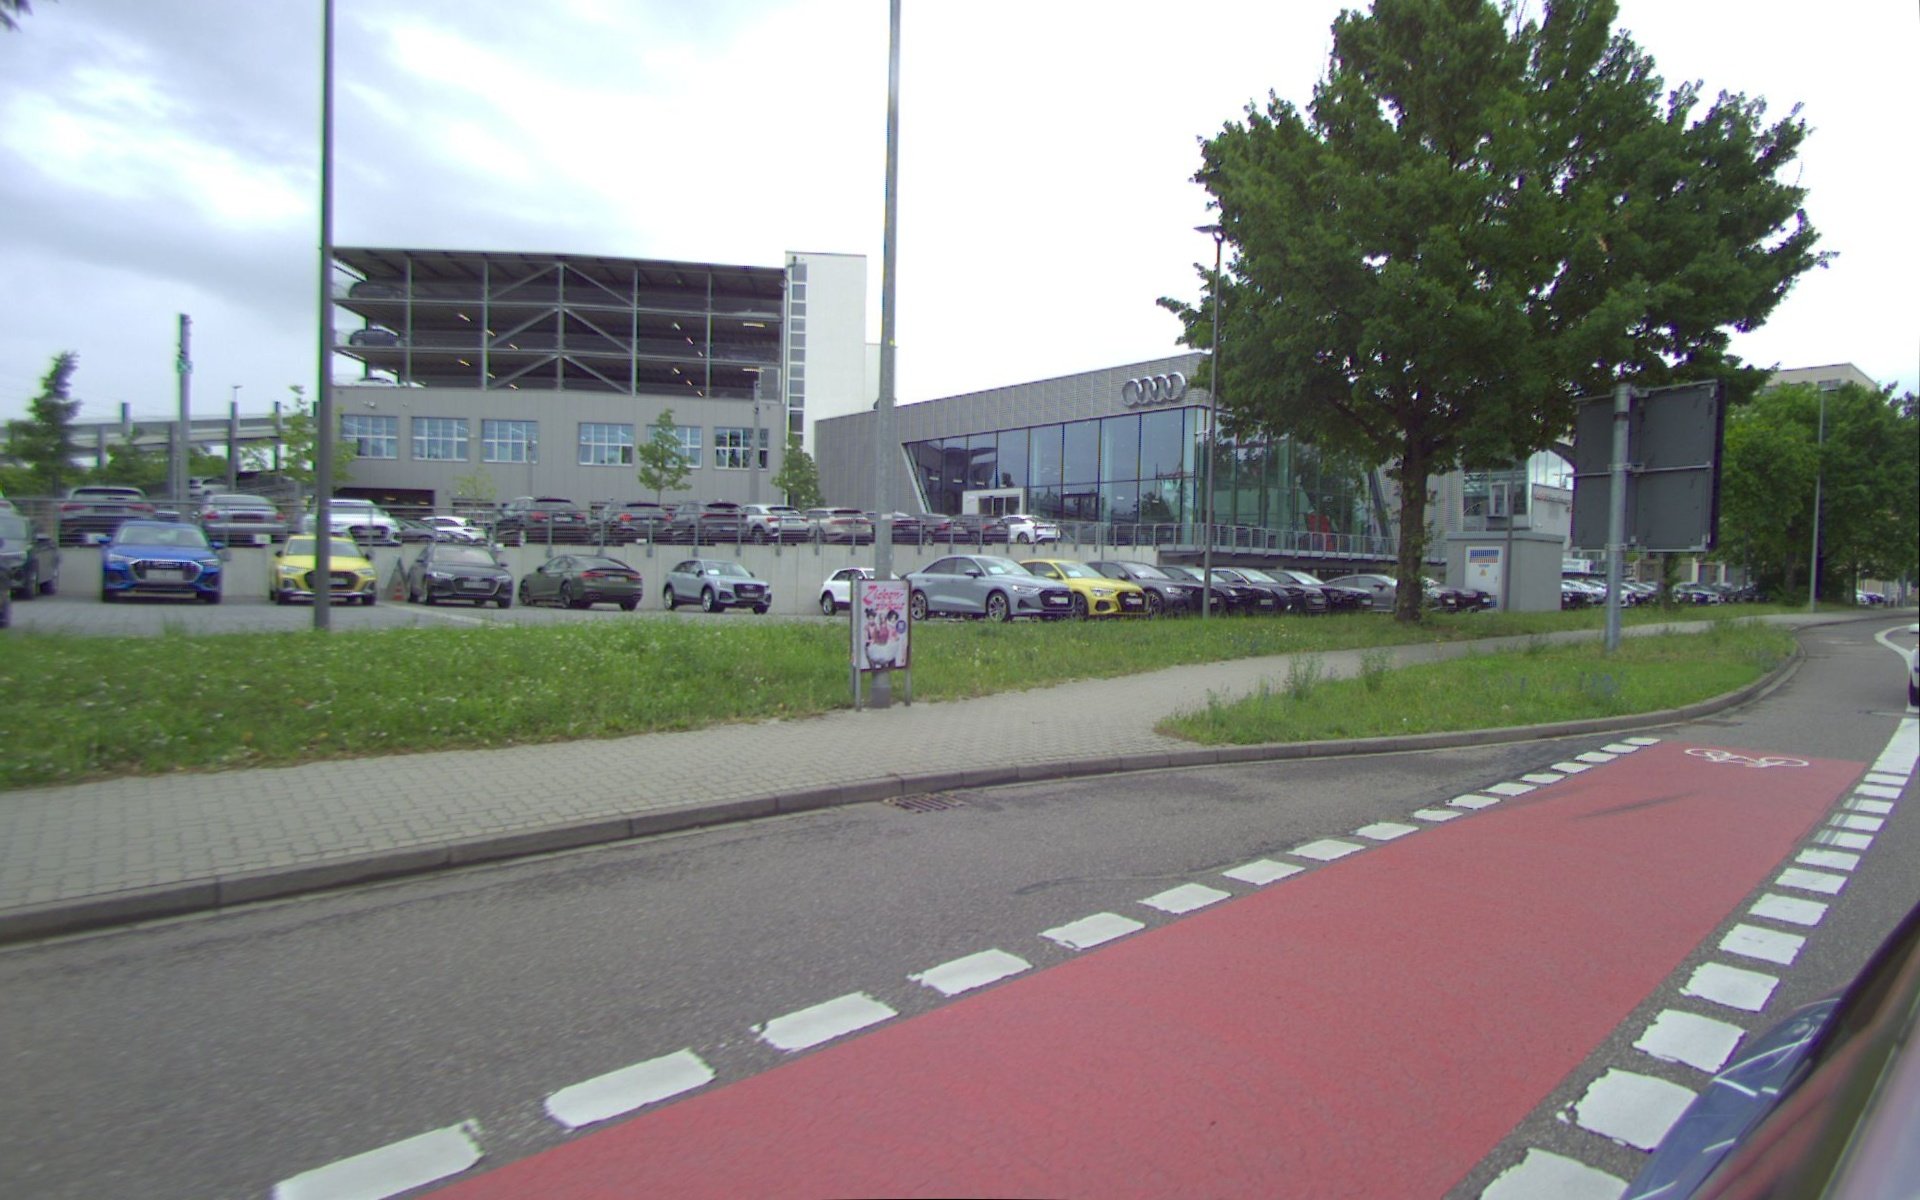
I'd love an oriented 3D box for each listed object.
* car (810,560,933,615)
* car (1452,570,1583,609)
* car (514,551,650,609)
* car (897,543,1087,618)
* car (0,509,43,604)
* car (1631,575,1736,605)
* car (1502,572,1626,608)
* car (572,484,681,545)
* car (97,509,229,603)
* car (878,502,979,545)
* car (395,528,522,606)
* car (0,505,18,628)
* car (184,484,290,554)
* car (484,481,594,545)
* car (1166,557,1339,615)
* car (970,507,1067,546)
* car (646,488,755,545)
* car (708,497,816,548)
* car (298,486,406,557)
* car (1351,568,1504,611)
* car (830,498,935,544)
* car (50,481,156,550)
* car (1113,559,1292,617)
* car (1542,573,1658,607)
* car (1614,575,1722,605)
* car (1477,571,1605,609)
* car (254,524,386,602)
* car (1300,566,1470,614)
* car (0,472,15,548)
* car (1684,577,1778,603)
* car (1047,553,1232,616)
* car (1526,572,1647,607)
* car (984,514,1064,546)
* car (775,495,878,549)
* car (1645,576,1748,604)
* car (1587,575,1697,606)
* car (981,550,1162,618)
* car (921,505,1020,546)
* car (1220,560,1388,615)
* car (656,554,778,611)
[{"bbox_3d":[-2.897,-0.418,32.479,1.868,1.621,4.307,-1,1,-39],"label":"car"},{"bbox_3d":[21.150,-0.364,38.542,1.697,1.410,4.038,0,0,-40],"label":"car"},{"bbox_3d":[-9.889,-0.549,26.311,1.869,1.344,4.304,1,1,-42],"label":"car"},{"bbox_3d":[0.576,-0.359,21.558,1.708,1.450,4.196,0,0,-39],"label":"car"},{"bbox_3d":[-18.210,-0.840,18.573,1.868,1.621,4.306,2,1,-40],"label":"car"},{"bbox_3d":[36.522,-0.486,51.153,1.697,1.410,4.038,0,0,-40],"label":"car"},{"bbox_3d":[24.770,-0.391,41.623,1.697,1.410,4.038,0,0,-40],"label":"car"},{"bbox_3d":[-10.765,-2.681,32.461,1.800,1.545,4.303,0,-1,-41],"label":"car"},{"bbox_3d":[-16.134,-0.854,20.425,1.868,1.647,4.306,2,0,-40],"label":"car"},{"bbox_3d":[-1.315,-3.052,41.121,1.800,1.381,4.303,0,0,-41],"label":"car"},{"bbox_3d":[-11.792,-0.765,23.646,1.867,1.621,4.310,2,1,-37],"label":"car"},{"bbox_3d":[-11.236,-0.371,10.454,1.868,1.371,4.001,0,0,-38],"label":"car"},{"bbox_3d":[-18.481,-1.984,25.796,1.800,1.389,4.303,0,0,-41],"label":"car"},{"bbox_3d":[-12.819,-2.569,30.674,1.827,1.546,4.303,0,-1,-41],"label":"car"},{"bbox_3d":[7.915,-0.329,27.723,1.811,1.463,4.306,0,0,-40],"label":"car"},{"bbox_3d":[2.532,-3.190,44.616,1.800,1.381,4.303,0,0,-41],"label":"car"},{"bbox_3d":[-8.757,-2.740,33.933,1.800,1.531,4.303,0,-1,-41],"label":"car"},{"bbox_3d":[-7.023,-2.669,35.603,1.832,1.451,4.303,0,-1,-41],"label":"car"},{"bbox_3d":[-16.603,-2.067,27.530,1.800,1.554,4.303,0,-1,-41],"label":"car"},{"bbox_3d":[15.661,-0.312,34.091,1.830,1.333,4.306,0,0,-40],"label":"car"},{"bbox_3d":[-3.037,-2.992,38.977,1.800,1.381,4.303,0,0,-41],"label":"car"},{"bbox_3d":[-20.563,-1.955,24.277,1.800,1.263,4.303,0,0,-41],"label":"car"},{"bbox_3d":[6.180,-0.268,26.245,1.805,1.396,4.306,0,0,-39],"label":"car"},{"bbox_3d":[28.304,-0.410,44.862,1.697,1.410,4.038,0,0,-40],"label":"car"},{"bbox_3d":[34.812,-0.478,49.841,1.697,1.410,4.038,0,0,-40],"label":"car"},{"bbox_3d":[22.954,-0.370,40.092,1.697,1.410,4.038,0,0,-40],"label":"car"},{"bbox_3d":[-14.010,-0.776,22.041,1.869,1.525,4.306,0,1,-40],"label":"car"},{"bbox_3d":[13.643,-0.279,32.759,1.868,1.442,4.760,0,0,-39],"label":"car"},{"bbox_3d":[-22.405,-2.000,22.659,1.670,1.400,4.303,0,-1,-41],"label":"car"},{"bbox_3d":[44.436,-0.550,58.386,1.697,1.410,4.038,0,0,-40],"label":"car"},{"bbox_3d":[4.224,-0.318,24.381,1.708,1.375,4.306,0,0,-39],"label":"car"},{"bbox_3d":[26.689,-0.401,43.204,1.697,1.410,4.038,0,0,-40],"label":"car"},{"bbox_3d":[3.382,-3.750,54.420,1.800,1.381,4.303,0,0,-41],"label":"car"},{"bbox_3d":[-4.982,-2.812,37.258,1.861,1.611,4.308,0,0,-38],"label":"car"},{"bbox_3d":[38.412,-0.503,52.848,1.697,1.410,4.038,0,0,-40],"label":"car"},{"bbox_3d":[32.583,-0.447,48.408,1.697,1.410,4.038,0,0,-40],"label":"car"},{"bbox_3d":[2.443,-0.320,23.033,1.763,1.395,4.054,0,0,-39],"label":"car"},{"bbox_3d":[0.410,-3.117,42.900,1.800,1.381,4.303,0,0,-41],"label":"car"},{"bbox_3d":[9.876,-0.320,29.349,1.811,1.463,4.306,0,0,-40],"label":"car"},{"bbox_3d":[-6.918,-0.453,28.583,1.868,1.478,3.914,0,0,-39],"label":"car"}]
